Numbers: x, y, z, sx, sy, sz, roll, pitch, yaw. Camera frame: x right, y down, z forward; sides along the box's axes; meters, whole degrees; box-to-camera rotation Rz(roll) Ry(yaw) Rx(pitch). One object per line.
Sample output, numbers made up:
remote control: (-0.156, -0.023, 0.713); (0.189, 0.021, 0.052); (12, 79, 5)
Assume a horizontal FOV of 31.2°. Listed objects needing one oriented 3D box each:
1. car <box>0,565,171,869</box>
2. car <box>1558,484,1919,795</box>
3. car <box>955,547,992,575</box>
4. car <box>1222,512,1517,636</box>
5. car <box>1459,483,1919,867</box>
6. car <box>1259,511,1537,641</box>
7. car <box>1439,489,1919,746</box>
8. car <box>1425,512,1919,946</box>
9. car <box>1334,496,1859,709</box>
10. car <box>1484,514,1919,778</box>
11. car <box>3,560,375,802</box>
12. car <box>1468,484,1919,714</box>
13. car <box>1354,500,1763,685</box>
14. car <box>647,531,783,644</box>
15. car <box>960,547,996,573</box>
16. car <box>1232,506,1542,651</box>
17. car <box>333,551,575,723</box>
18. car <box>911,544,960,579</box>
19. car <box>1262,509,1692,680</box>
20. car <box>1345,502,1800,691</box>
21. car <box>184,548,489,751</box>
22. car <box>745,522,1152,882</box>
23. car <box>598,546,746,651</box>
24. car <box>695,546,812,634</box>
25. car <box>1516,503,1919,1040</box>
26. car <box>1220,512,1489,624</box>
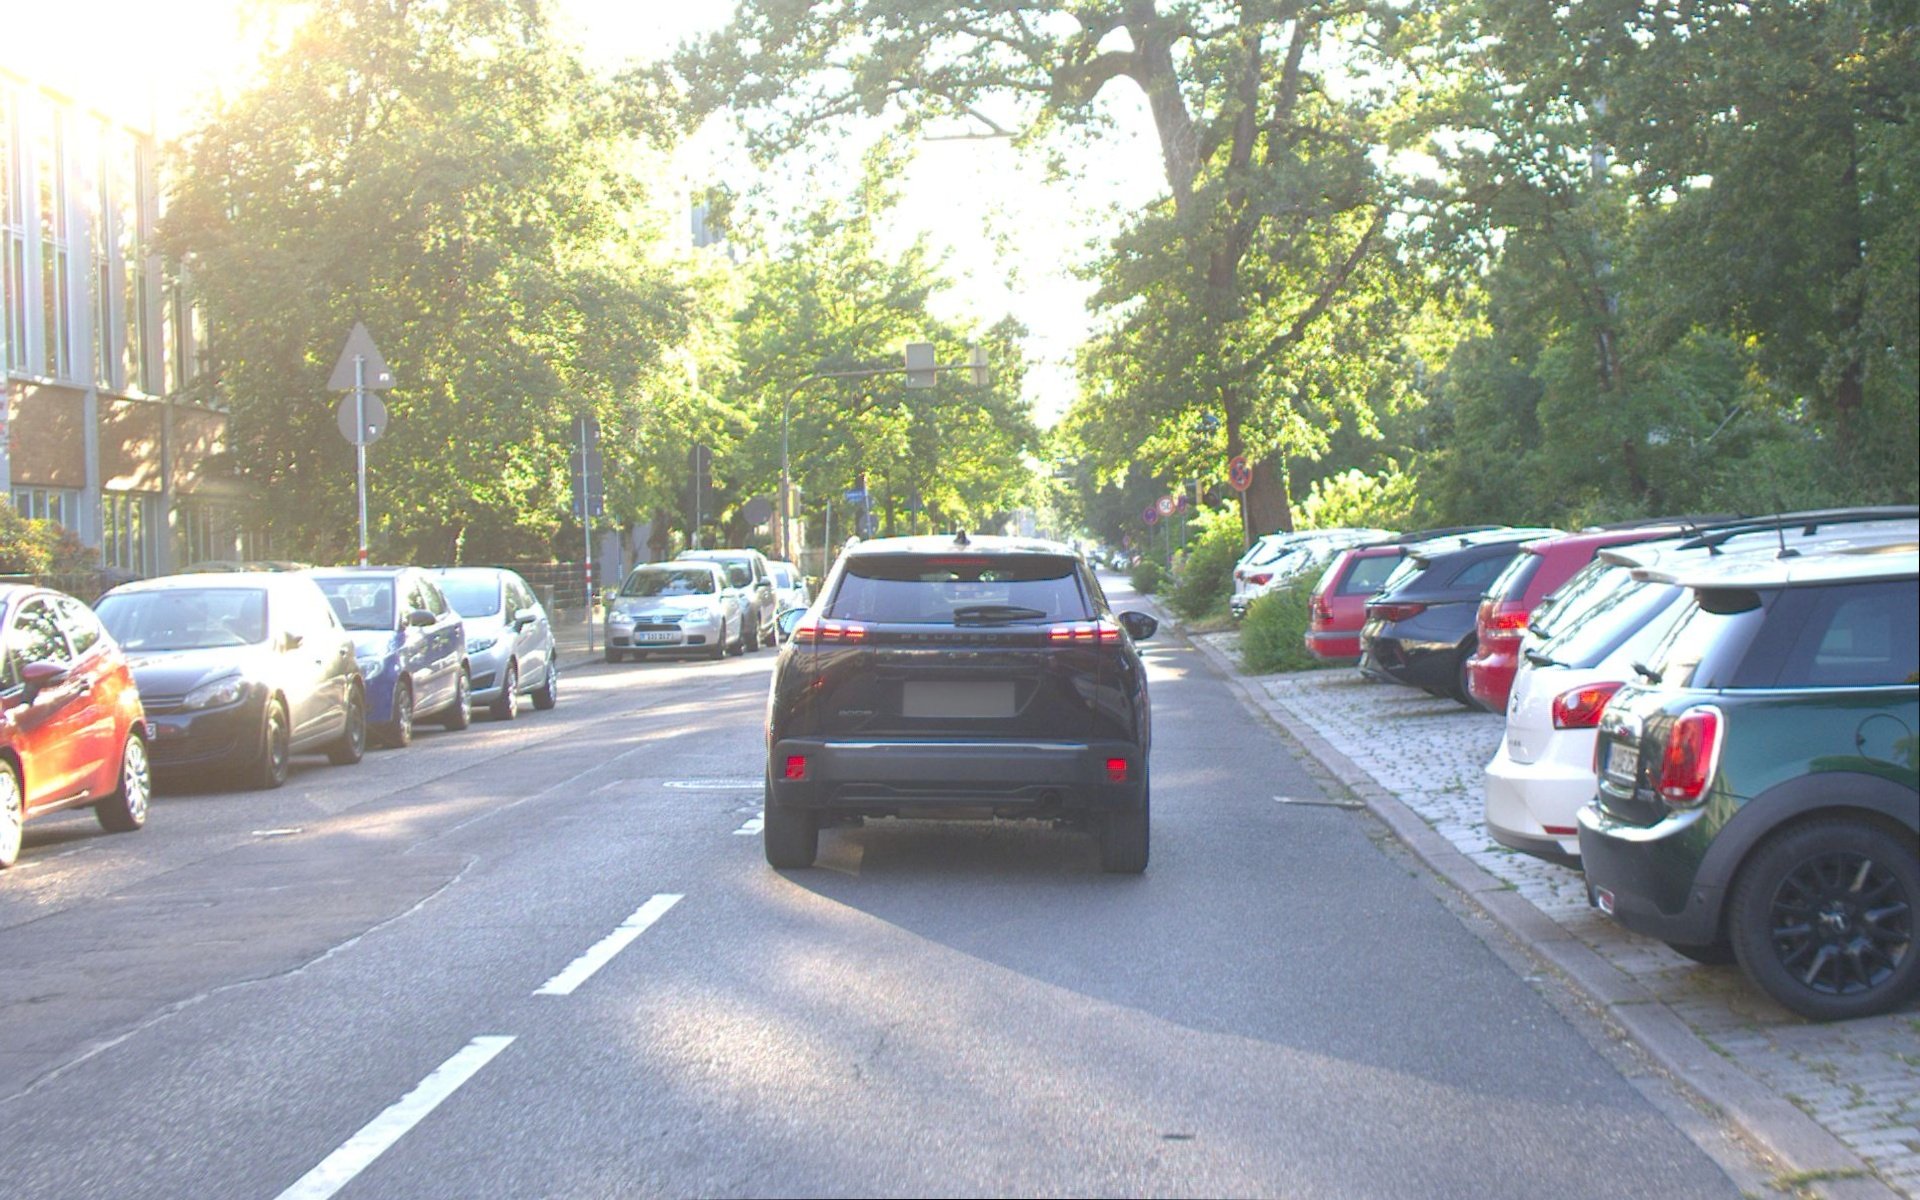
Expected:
car: (-5.537, 0.605, 18.402); (1.598, 1.450, 3.862); (-3, 1, 1)
car: (5.318, 0.118, 18.813); (3.725, 1.493, 1.820); (-5, 0, 3)
car: (0.699, -2.045, 180.545); (1.810, 1.349, 3.979); (-2, 1, -2)
car: (5.946, -0.383, 50.299); (4.122, 1.661, 1.723); (-2, 1, 3)
car: (4.363, 0.249, 16.192); (3.666, 1.547, 1.735); (-5, 1, 1)
car: (6.055, -0.330, 47.812); (3.589, 1.561, 1.818); (-3, 0, 2)
car: (5.370, 0.082, 23.841); (3.808, 1.470, 1.756); (-5, 0, 3)
car: (3.828, 0.389, 13.535); (3.666, 1.440, 1.735); (-5, 1, 1)
car: (5.350, 0.006, 29.335); (4.120, 1.469, 1.832); (-4, 1, 4)
car: (5.298, 0.220, 21.447); (3.749, 1.390, 1.756); (-5, 0, 3)
car: (-5.384, 0.508, 24.506); (1.598, 1.450, 4.055); (-3, 1, 1)
car: (6.001, -0.037, 26.640); (3.808, 1.470, 1.832); (-5, 0, 3)
car: (6.011, -0.085, 34.820); (3.711, 1.550, 1.742); (-4, 1, -1)
car: (-4.043, -0.241, 57.227); (1.679, 1.702, 4.340); (-3, 1, 3)
car: (0.994, -2.219, 190.867); (1.810, 1.349, 4.000); (-2, 1, -2)
car: (5.604, -0.306, 45.390); (3.744, 1.589, 1.697); (-4, 2, -2)
car: (-4.949, 0.318, 34.074); (1.601, 1.488, 3.772); (-3, 1, 3)
car: (-1.013, -1.582, 140.498); (1.810, 1.349, 4.001); (-2, 1, -3)
car: (5.499, -0.078, 37.000); (4.338, 1.470, 1.742); (-4, 2, 3)
car: (5.680, -0.046, 32.268); (3.924, 1.449, 1.832); (-4, 1, 4)
car: (-5.246, 0.370, 29.363); (1.598, 1.502, 3.787); (-3, 1, 4)
car: (-0.026, 0.417, 16.744); (1.768, 1.563, 3.380); (0, 1, 1)
car: (-4.294, -0.056, 51.734); (1.671, 1.488, 4.061); (-1, 1, 3)
car: (-3.789, -0.212, 63.609); (1.679, 1.452, 3.882); (-3, 1, 3)
car: (3.801, 0.406, 11.194); (3.610, 1.520, 1.672); (-5, 1, 1)
car: (6.301, -0.514, 55.024); (4.171, 1.704, 1.867); (-1, 1, 7)
